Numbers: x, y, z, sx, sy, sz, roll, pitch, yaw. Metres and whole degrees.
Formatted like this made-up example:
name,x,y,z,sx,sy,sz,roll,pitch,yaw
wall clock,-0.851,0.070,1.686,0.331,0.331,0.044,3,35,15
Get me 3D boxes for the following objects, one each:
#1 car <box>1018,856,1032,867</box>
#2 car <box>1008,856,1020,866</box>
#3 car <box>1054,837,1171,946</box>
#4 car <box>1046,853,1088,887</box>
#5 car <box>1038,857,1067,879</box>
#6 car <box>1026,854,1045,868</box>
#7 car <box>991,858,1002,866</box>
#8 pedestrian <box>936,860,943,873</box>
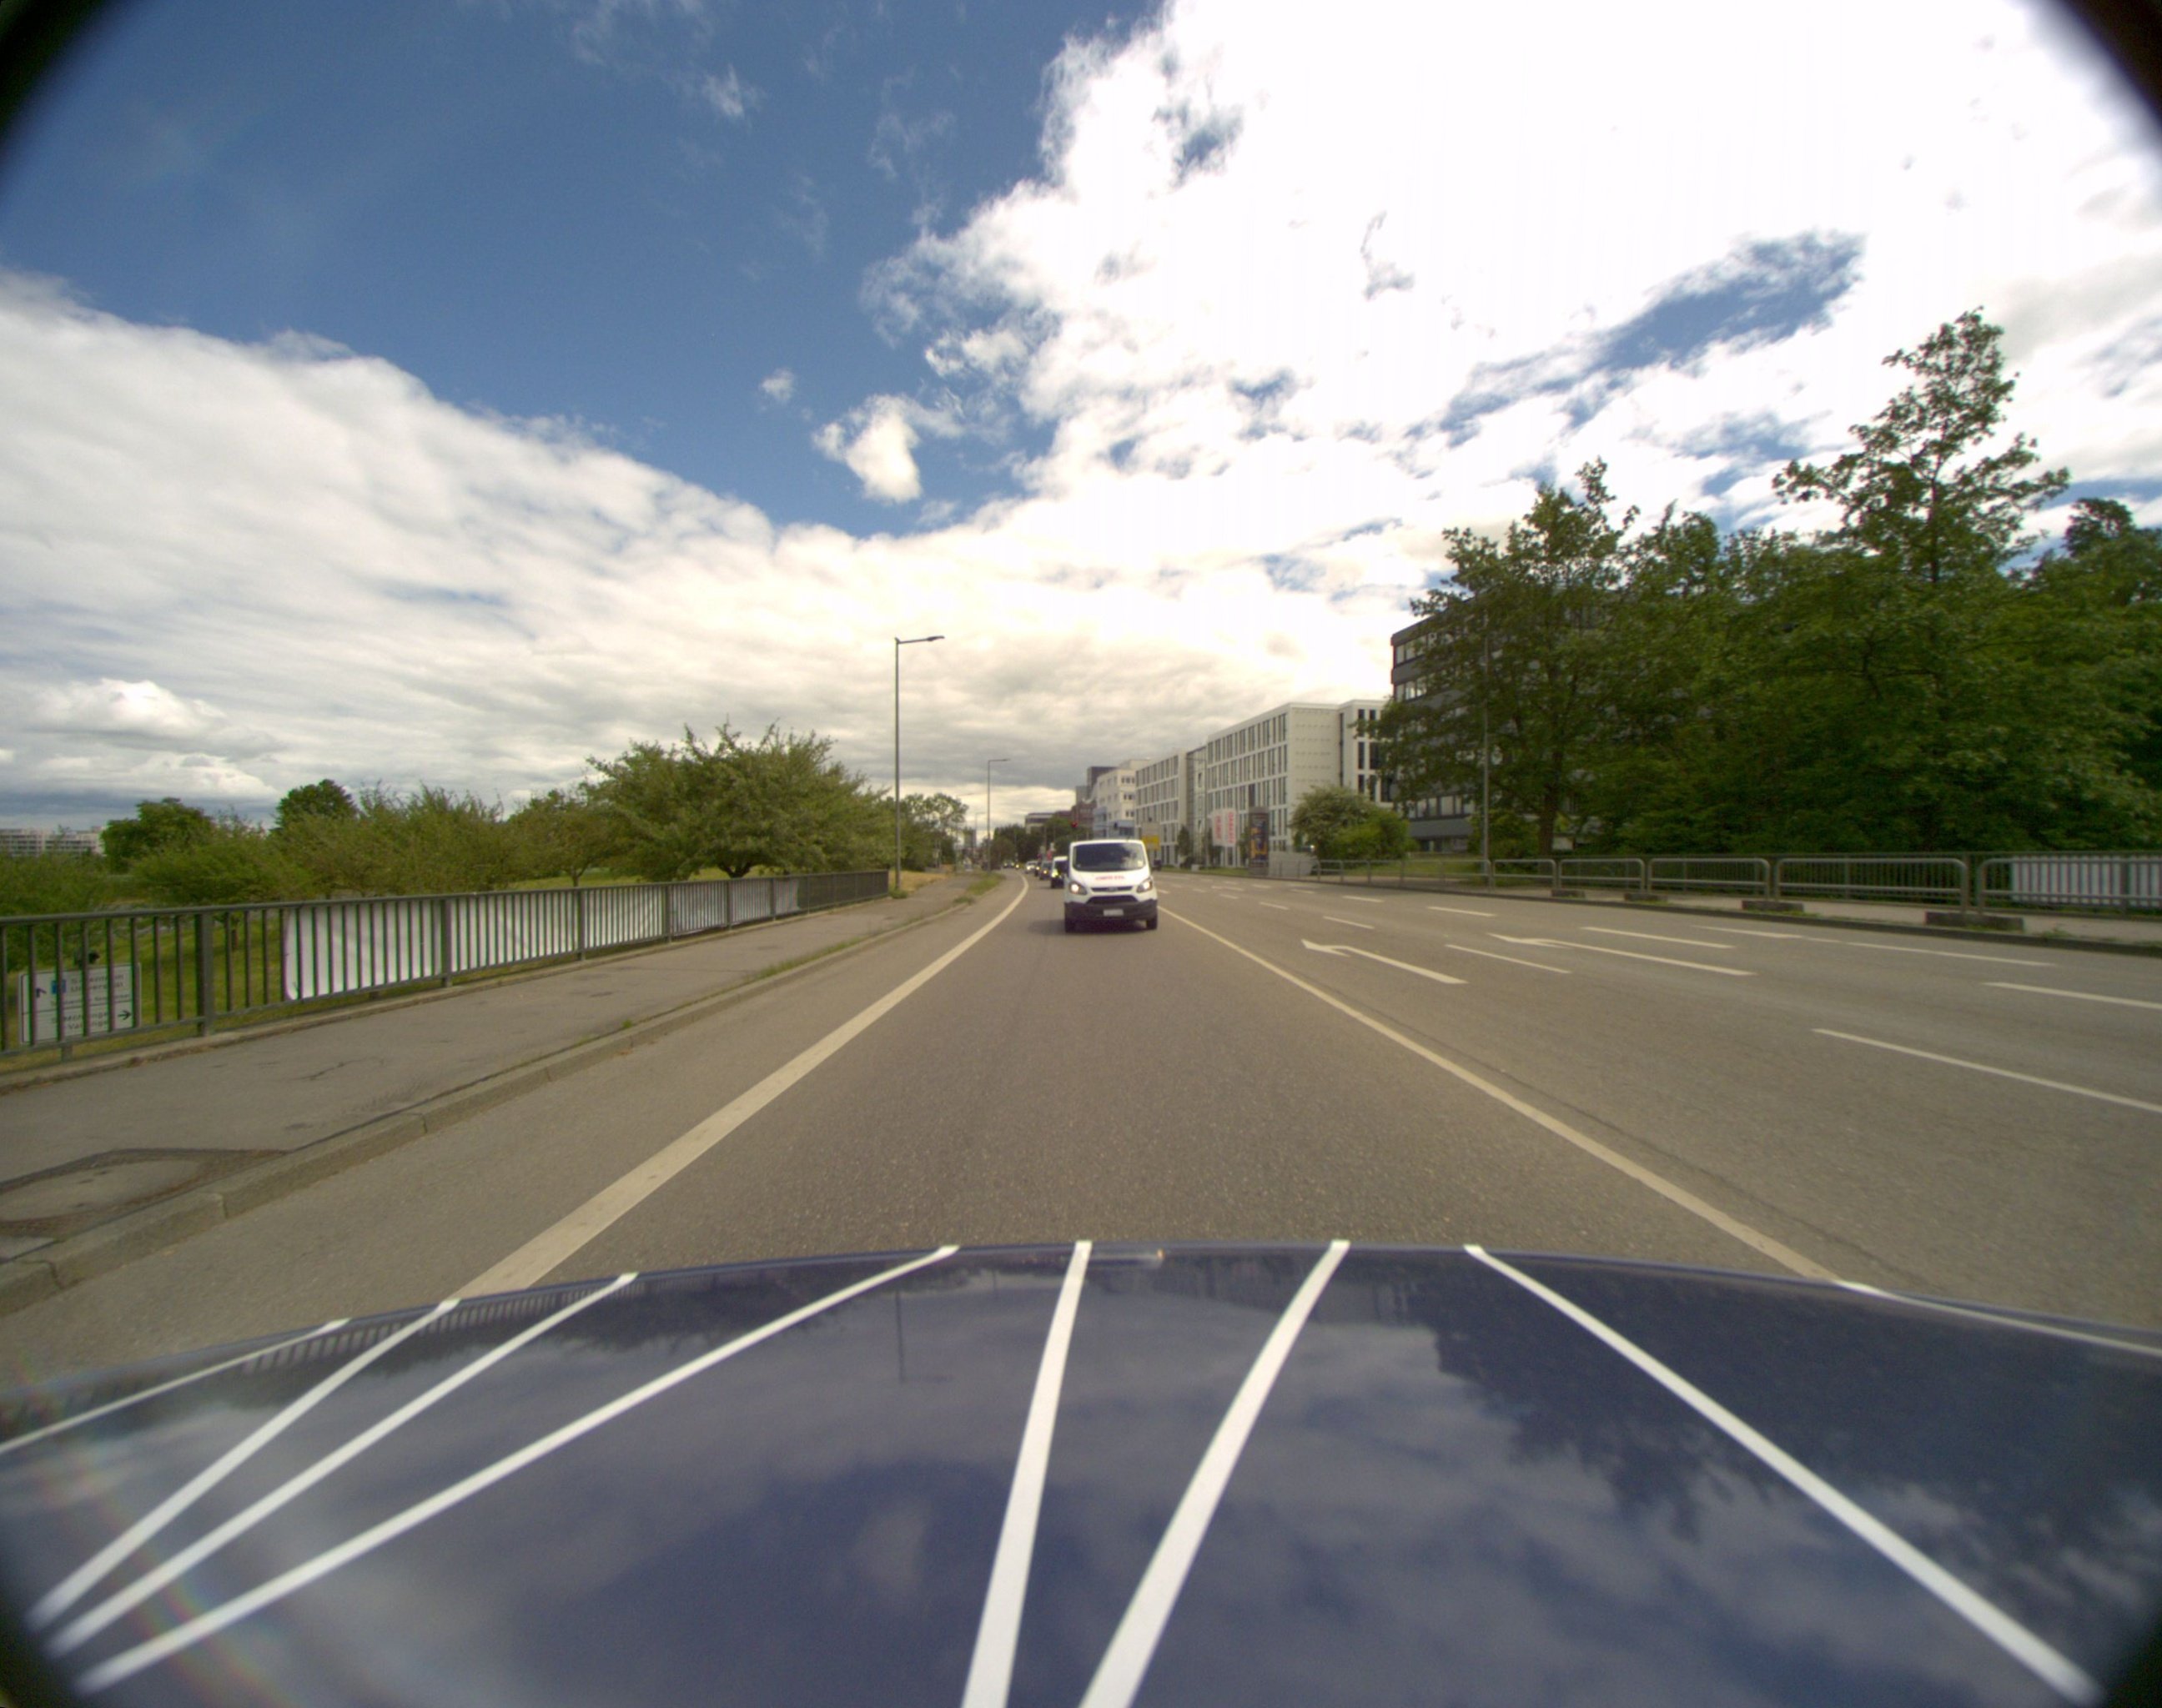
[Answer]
name,x,y,z,sx,sy,sz,roll,pitch,yaw
car,-9.294,1.179,125.364,1.874,1.685,4.367,-2,0,-10
car,-12.638,1.296,142.943,1.873,1.685,4.368,-2,0,-8
car,0.665,0.704,17.178,2.122,1.963,6.207,-2,0,2
car,-0.858,0.886,44.099,1.873,1.836,4.368,-2,0,-8
car,-2.382,1.118,63.128,1.873,1.685,4.368,-2,0,-8
car,-5.675,0.882,93.956,1.873,1.685,4.368,-2,0,-8
car,-14.478,1.364,130.407,1.737,1.432,4.365,-2,0,-8
pedestrian,-20.606,1.759,110.574,0.765,1.872,0.801,-2,1,8
